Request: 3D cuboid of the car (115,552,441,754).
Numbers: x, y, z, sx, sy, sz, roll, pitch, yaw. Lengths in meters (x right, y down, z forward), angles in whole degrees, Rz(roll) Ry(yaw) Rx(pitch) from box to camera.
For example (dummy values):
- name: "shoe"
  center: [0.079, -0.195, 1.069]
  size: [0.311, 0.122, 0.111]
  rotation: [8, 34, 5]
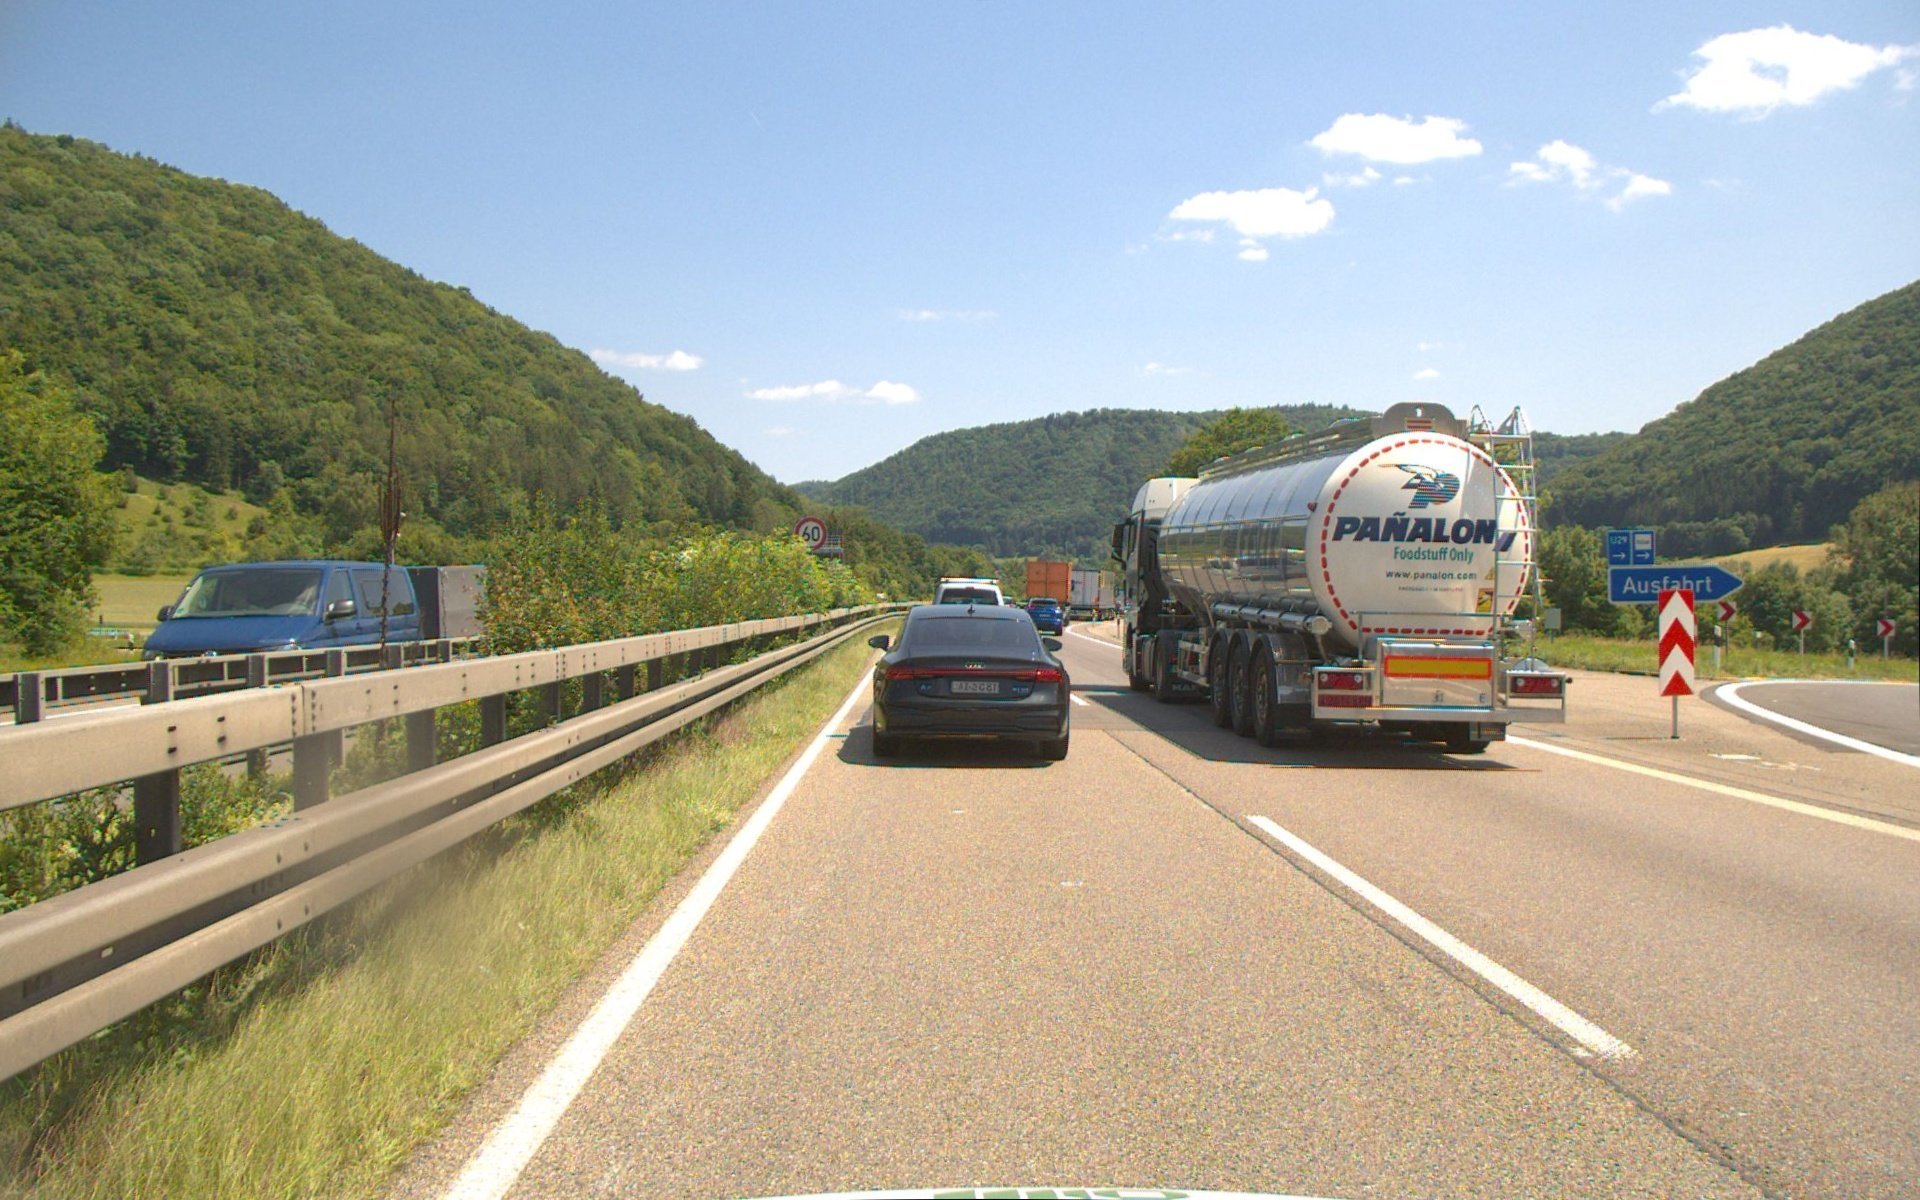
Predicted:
- name: "car"
  center: [-7.904, 0.548, 19.747]
  size: [1.953, 2.106, 4.837]
  rotation: [0, 0, -1]

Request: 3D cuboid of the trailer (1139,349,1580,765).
- name: "trailer"
  center: [4.304, -0.404, 21.086]
  size: [2.487, 3.801, 11.888]
  rotation: [0, 0, -1]

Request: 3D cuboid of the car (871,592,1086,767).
- name: "car"
  center: [0.056, 0.688, 16.510]
  size: [1.813, 1.514, 4.079]
  rotation: [0, 0, -4]

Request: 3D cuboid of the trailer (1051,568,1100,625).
- name: "trailer"
  center: [9.357, -0.280, 134.803]
  size: [2.954, 4.459, 10.982]
  rotation: [0, 0, -1]

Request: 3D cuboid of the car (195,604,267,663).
- name: "car"
  center: [-24.420, 1.075, 55.488]
  size: [1.779, 1.870, 3.980]
  rotation: [0, 0, -18]

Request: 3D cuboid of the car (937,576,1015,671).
- name: "car"
  center: [0.286, 0.461, 34.785]
  size: [1.544, 1.865, 3.999]
  rotation: [0, 0, -1]

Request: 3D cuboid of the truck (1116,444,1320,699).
- name: "truck"
  center: [4.132, -0.434, 27.530]
  size: [2.460, 3.824, 5.244]
  rotation: [0, 0, -1]

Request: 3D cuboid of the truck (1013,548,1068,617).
- name: "truck"
  center: [5.043, -1.057, 105.863]
  size: [2.760, 4.073, 14.954]
  rotation: [0, 0, 0]

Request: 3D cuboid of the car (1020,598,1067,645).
- name: "car"
  center: [3.776, 0.948, 75.461]
  size: [1.952, 2.038, 4.000]
  rotation: [-1, 0, 0]

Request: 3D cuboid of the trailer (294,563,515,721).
- name: "trailer"
  center: [-7.975, 0.557, 24.113]
  size: [1.984, 2.106, 3.828]
  rotation: [0, 0, -1]

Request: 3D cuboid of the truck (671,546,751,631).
- name: "truck"
  center: [-12.306, -0.540, 82.740]
  size: [2.376, 3.967, 12.278]
  rotation: [0, 0, -1]

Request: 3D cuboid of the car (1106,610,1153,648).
- name: "car"
  center: [7.445, 1.260, 73.083]
  size: [1.711, 1.557, 4.000]
  rotation: [-1, 0, 1]

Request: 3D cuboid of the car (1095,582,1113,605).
- name: "car"
  center: [18.742, -0.855, 215.491]
  size: [1.952, 2.986, 4.898]
  rotation: [0, 0, 0]
